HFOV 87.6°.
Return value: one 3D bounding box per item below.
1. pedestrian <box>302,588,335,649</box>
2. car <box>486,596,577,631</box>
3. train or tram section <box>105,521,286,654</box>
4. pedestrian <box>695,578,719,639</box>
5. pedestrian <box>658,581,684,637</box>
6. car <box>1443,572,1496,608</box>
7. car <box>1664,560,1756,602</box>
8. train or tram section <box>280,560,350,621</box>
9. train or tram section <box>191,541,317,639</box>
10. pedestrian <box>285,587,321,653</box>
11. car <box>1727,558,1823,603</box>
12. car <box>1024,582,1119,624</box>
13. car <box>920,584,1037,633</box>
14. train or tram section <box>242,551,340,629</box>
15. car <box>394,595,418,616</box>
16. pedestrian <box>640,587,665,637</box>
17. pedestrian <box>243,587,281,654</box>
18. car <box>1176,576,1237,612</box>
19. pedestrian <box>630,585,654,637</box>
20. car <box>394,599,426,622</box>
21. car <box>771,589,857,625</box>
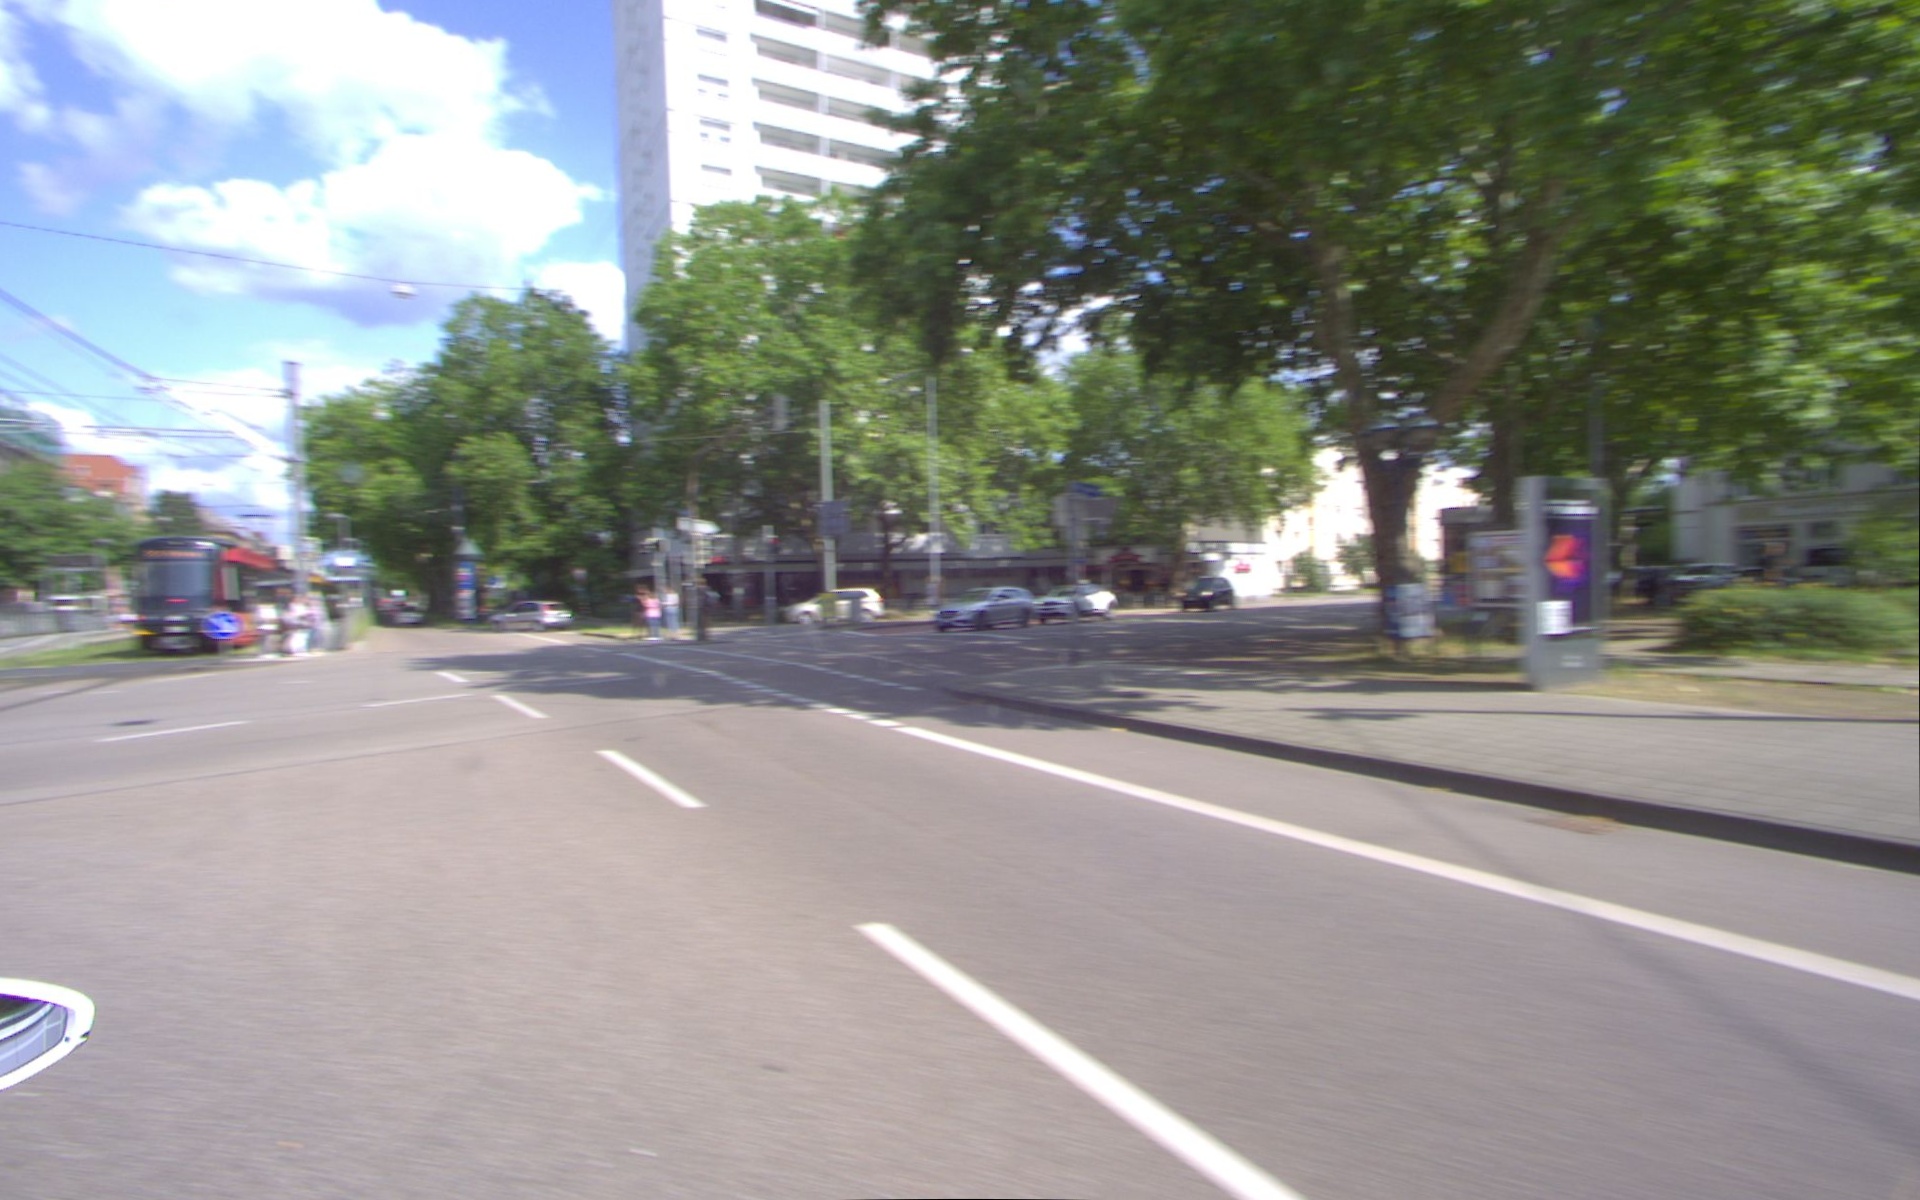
[{"bbox_3d":[-18.542,0.533,28.943,0.661,1.726,0.645,-3,2,-27],"label":"pedestrian"},{"bbox_3d":[-20.049,0.625,46.906,3.607,1.504,1.732,-1,2,18],"label":"car"},{"bbox_3d":[-24.513,-0.398,32.779,2.763,3.609,11.320,-3,2,-28],"label":"train or tram section"},{"bbox_3d":[-7.754,0.256,30.695,0.473,1.850,0.555,-1,2,12],"label":"pedestrian"},{"bbox_3d":[-9.140,0.281,31.674,0.549,1.759,0.525,0,2,39],"label":"pedestrian"},{"bbox_3d":[24.460,-0.496,48.048,1.668,1.522,3.971,-1,2,36],"label":"car"},{"bbox_3d":[32.173,-0.821,42.921,4.026,1.682,1.841,-2,2,-32],"label":"car"},{"bbox_3d":[-39.977,-0.576,62.302,2.733,3.530,8.864,-2,1,-28],"label":"train or tram section"},{"bbox_3d":[-29.764,-0.433,42.720,2.772,3.609,11.128,-3,2,-27],"label":"train or tram section"},{"bbox_3d":[-17.757,0.535,27.081,0.661,1.726,0.645,-3,2,-27],"label":"pedestrian"},{"bbox_3d":[33.399,-0.817,41.004,4.026,1.682,1.841,-2,2,-32],"label":"car"},{"bbox_3d":[4.461,0.108,39.557,1.838,1.510,4.044,-1,1,38],"label":"car"},{"bbox_3d":[0.693,0.252,34.376,1.841,1.510,3.963,0,2,43],"label":"car"},{"bbox_3d":[-35.120,-0.540,52.992,2.772,3.609,12.099,-3,2,-27],"label":"train or tram section"},{"bbox_3d":[-55.301,0.570,99.922,1.970,2.041,3.981,-1,1,-28],"label":"car"},{"bbox_3d":[-10.081,0.394,32.819,0.549,1.619,0.508,0,2,39],"label":"pedestrian"},{"bbox_3d":[-18.548,0.534,26.629,0.661,1.726,0.645,-3,2,-27],"label":"pedestrian"},{"bbox_3d":[12.331,-0.322,49.959,1.668,1.642,3.974,-1,2,35],"label":"car"},{"bbox_3d":[-10.535,0.353,33.189,0.549,1.693,0.508,0,2,39],"label":"pedestrian"},{"bbox_3d":[-37.588,0.715,68.471,1.727,1.473,3.589,-2,1,-27],"label":"car"},{"bbox_3d":[-6.707,0.315,45.913,3.777,1.510,1.859,-2,1,-11],"label":"car"}]
